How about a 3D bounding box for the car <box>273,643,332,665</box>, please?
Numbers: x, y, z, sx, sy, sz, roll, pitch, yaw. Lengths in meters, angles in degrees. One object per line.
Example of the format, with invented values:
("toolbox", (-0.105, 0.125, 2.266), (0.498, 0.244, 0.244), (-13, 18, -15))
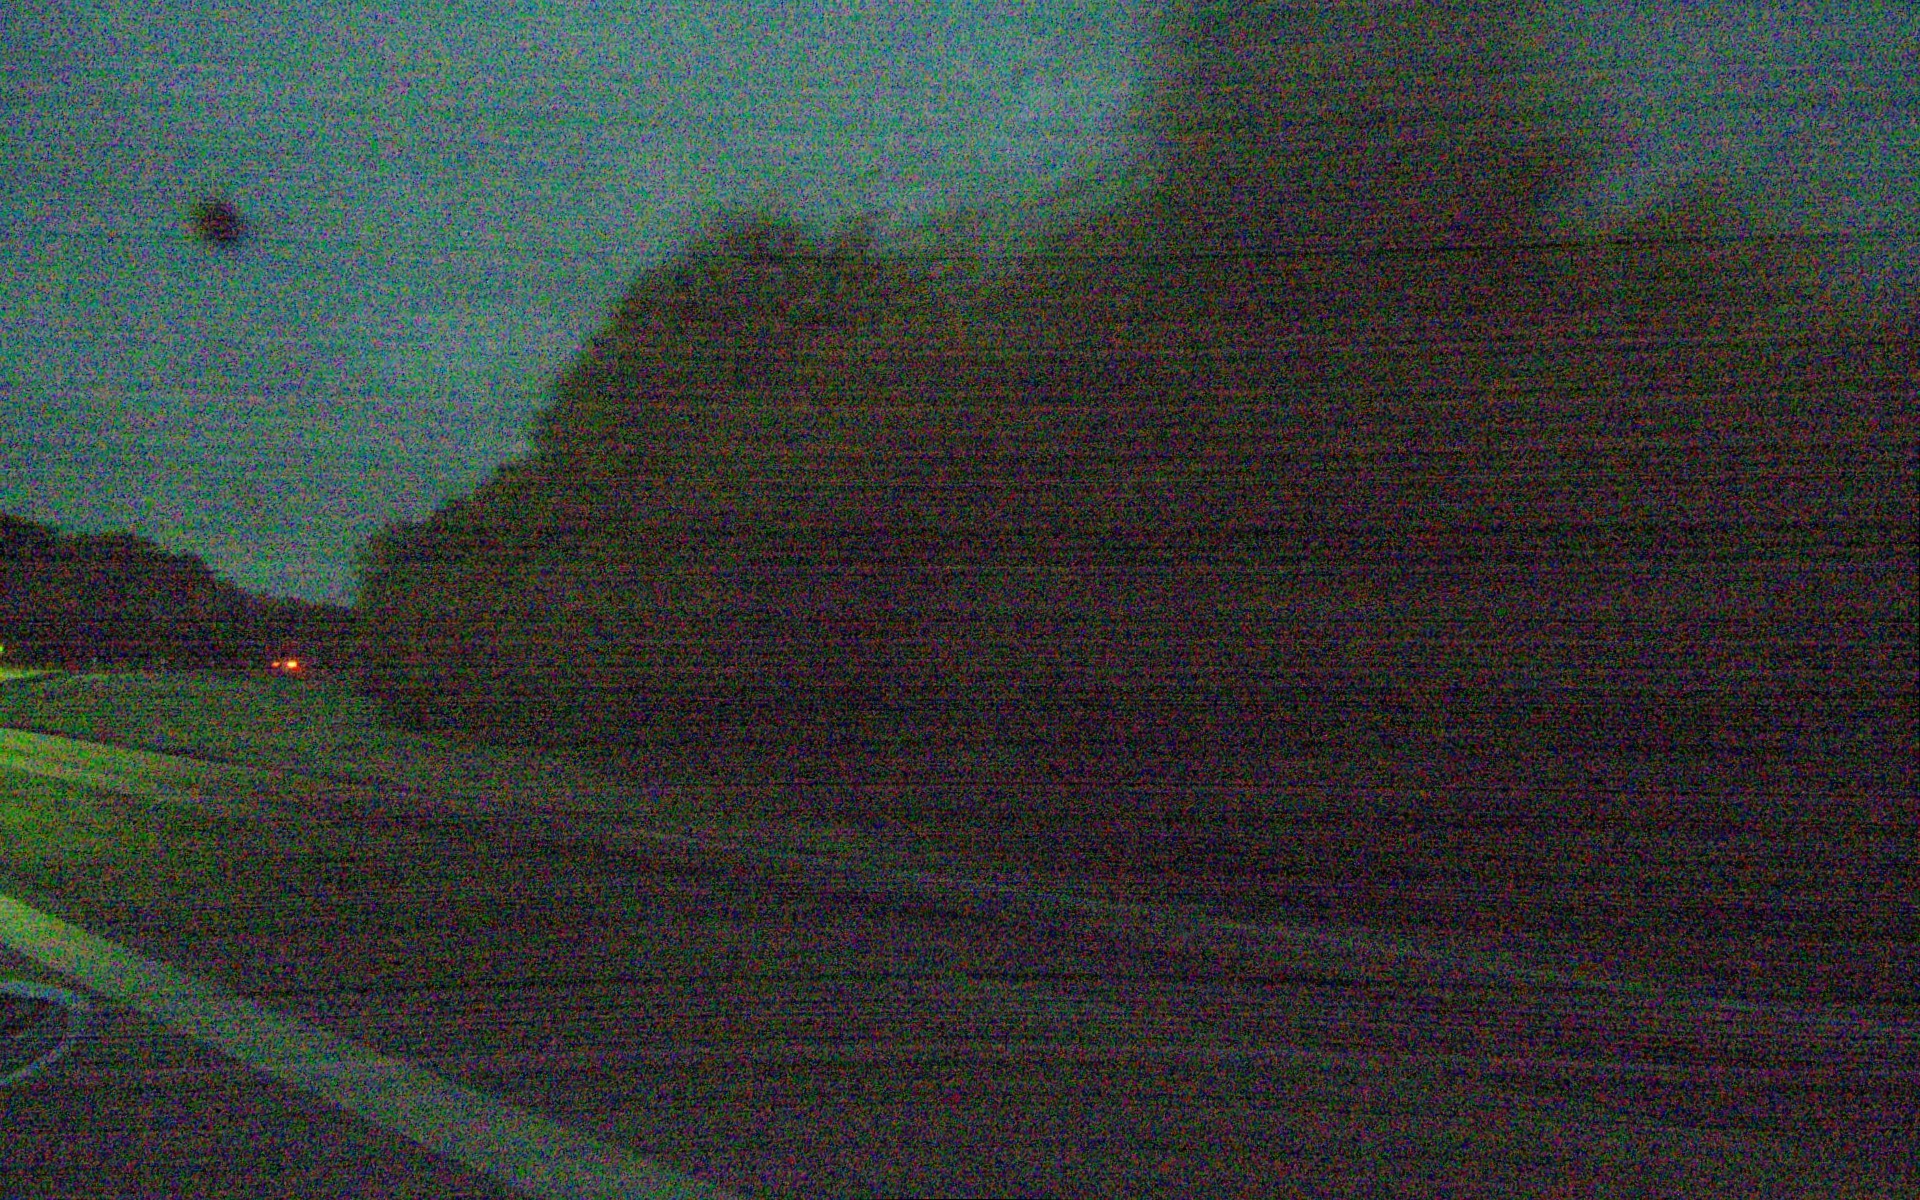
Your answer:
("car", (-53.007, 4.350, 80.800), (1.961, 1.618, 4.003), (1, -2, 4))
